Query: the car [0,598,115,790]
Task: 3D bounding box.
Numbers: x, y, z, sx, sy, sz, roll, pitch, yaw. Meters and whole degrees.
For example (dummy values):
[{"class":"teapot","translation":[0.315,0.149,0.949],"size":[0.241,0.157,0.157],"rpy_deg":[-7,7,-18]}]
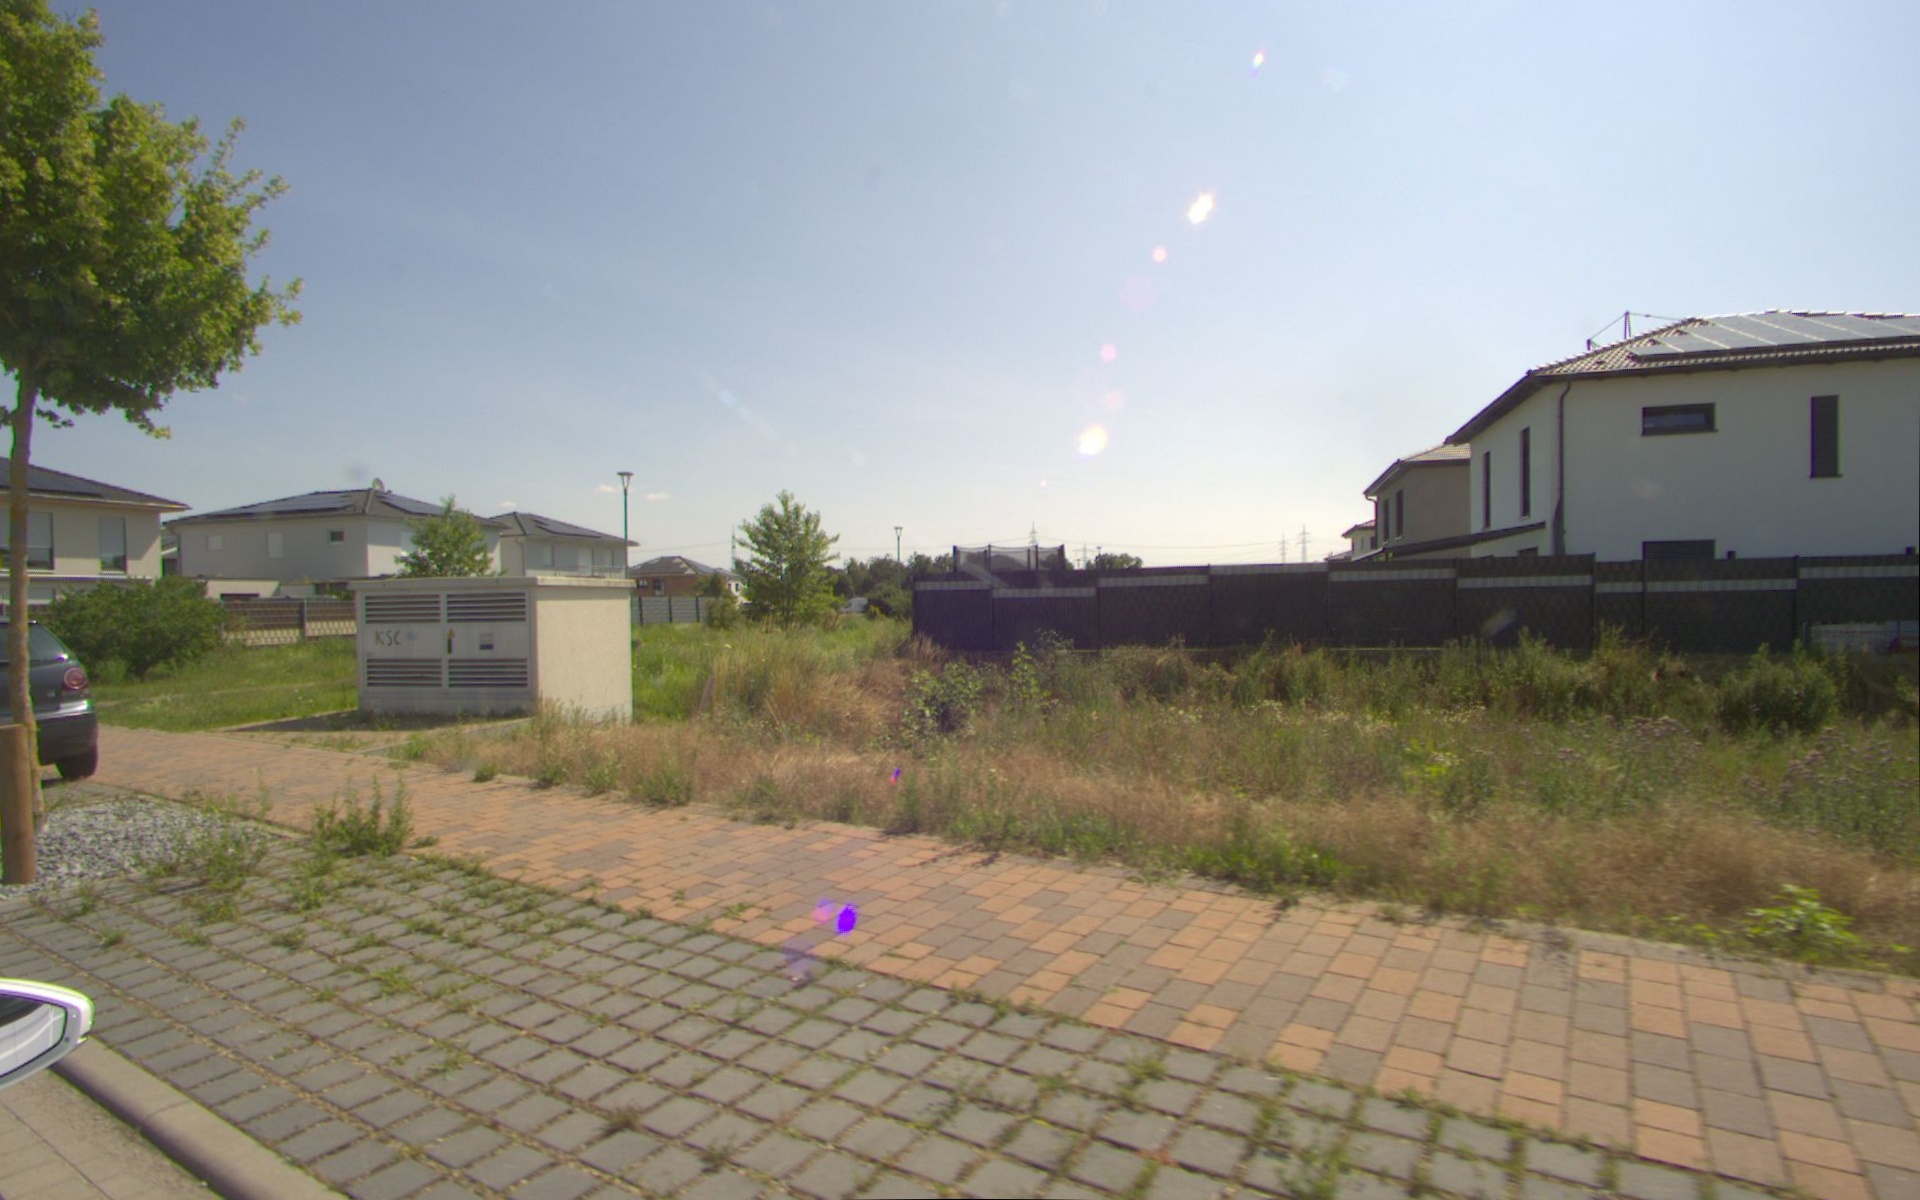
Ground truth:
[{"class":"car","translation":[-9.143,0.772,8.774],"size":[3.622,1.495,1.595],"rpy_deg":[-1,1,32]}]
